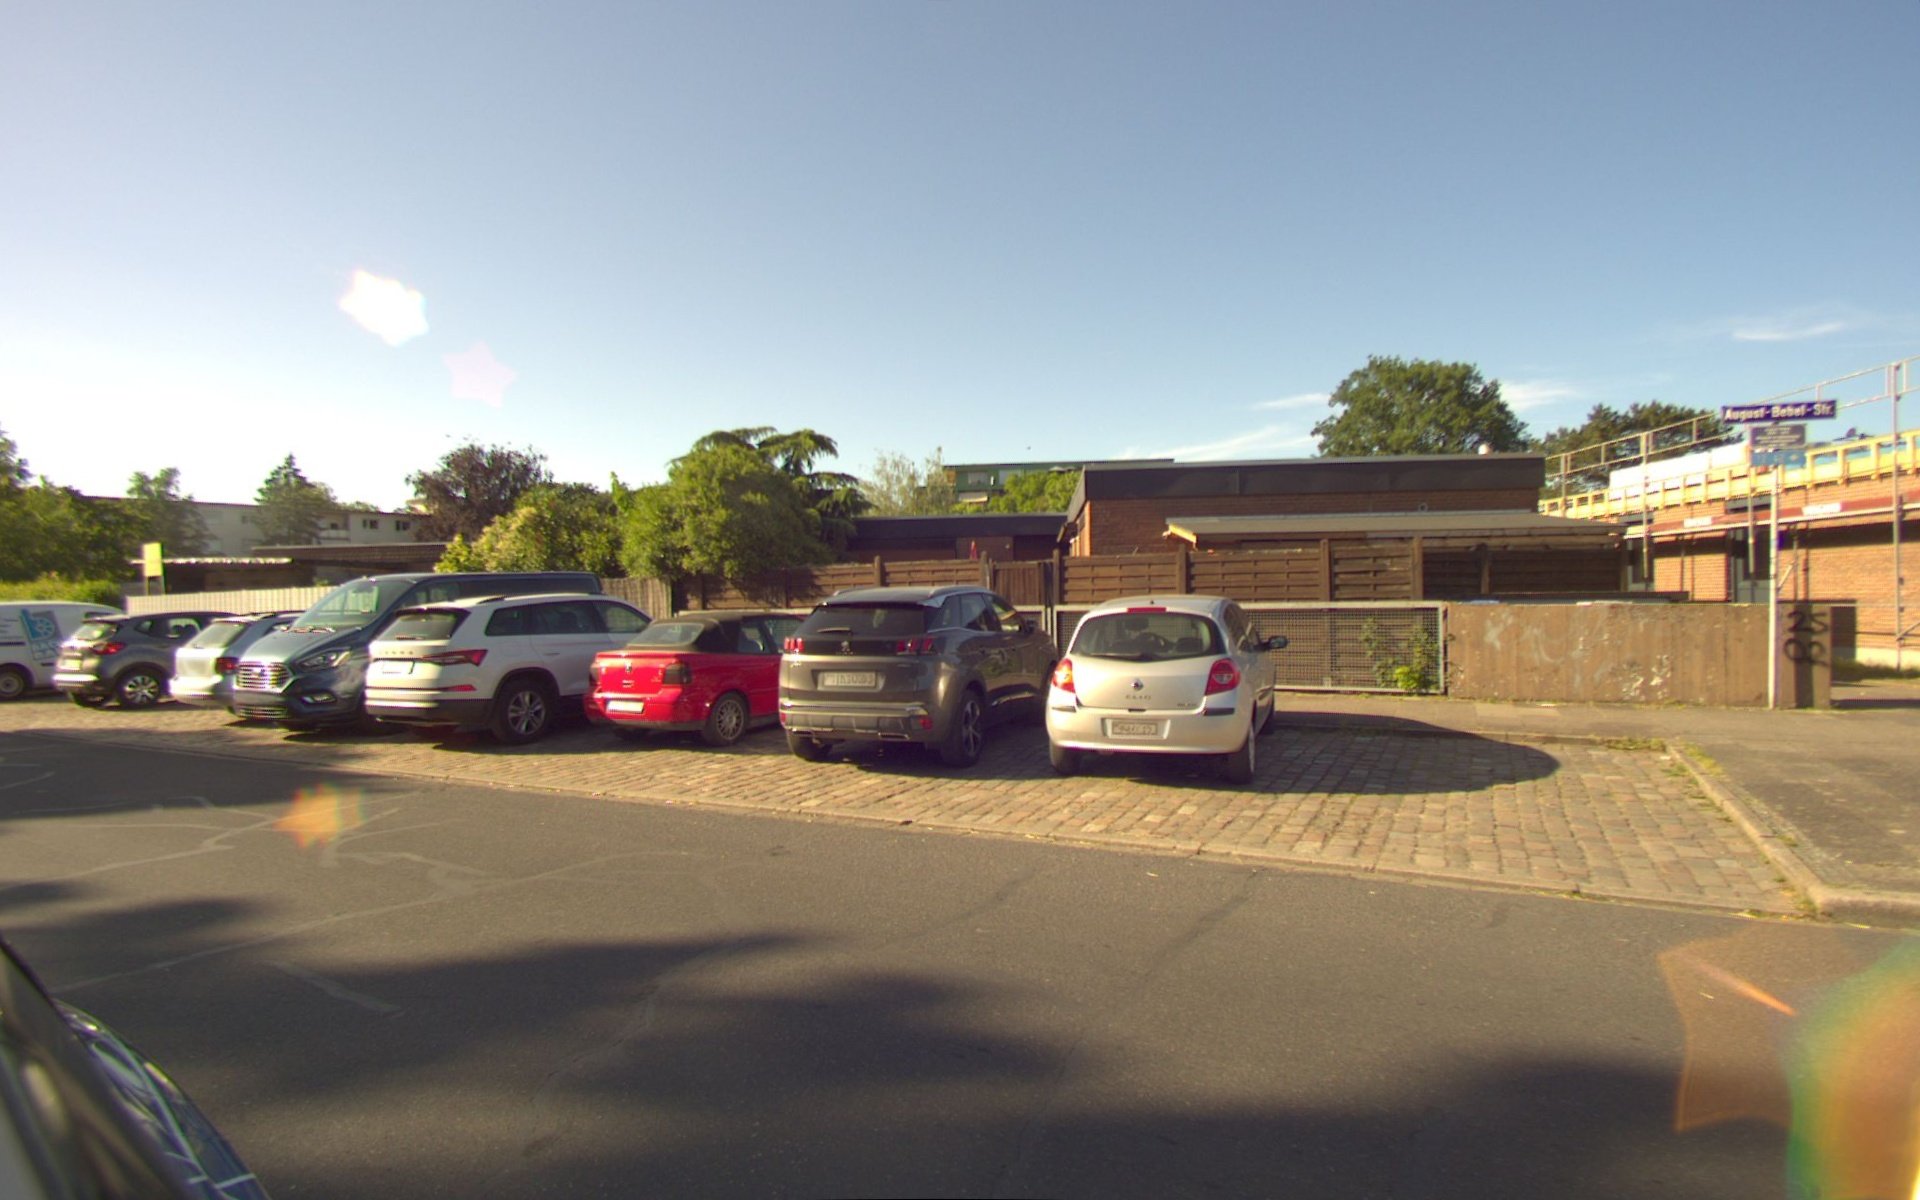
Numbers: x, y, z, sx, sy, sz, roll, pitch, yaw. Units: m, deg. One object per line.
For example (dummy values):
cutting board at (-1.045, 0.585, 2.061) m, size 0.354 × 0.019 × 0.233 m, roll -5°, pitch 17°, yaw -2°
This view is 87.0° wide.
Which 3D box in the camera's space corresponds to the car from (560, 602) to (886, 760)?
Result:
car at (-2.561, 0.792, 11.748) m, size 1.725 × 1.354 × 3.589 m, roll -1°, pitch 2°, yaw 29°

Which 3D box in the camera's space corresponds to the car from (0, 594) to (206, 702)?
car at (-17.429, 0.891, 19.689) m, size 1.917 × 1.793 × 3.952 m, roll -2°, pitch 2°, yaw 28°

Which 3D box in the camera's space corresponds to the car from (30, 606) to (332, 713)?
car at (-13.406, 0.940, 17.667) m, size 1.780 × 1.544 × 3.793 m, roll -1°, pitch 1°, yaw 26°

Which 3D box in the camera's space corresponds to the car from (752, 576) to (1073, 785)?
car at (-0.243, 0.625, 10.428) m, size 1.806 × 1.624 × 3.972 m, roll -1°, pitch 2°, yaw 22°

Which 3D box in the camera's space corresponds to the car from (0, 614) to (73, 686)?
car at (-21.868, 1.156, 22.061) m, size 1.632 × 1.500 × 3.485 m, roll -2°, pitch 2°, yaw 34°

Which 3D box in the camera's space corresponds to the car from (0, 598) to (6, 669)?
car at (-28.279, 1.046, 26.208) m, size 2.073 × 1.935 × 4.756 m, roll -1°, pitch 2°, yaw 30°

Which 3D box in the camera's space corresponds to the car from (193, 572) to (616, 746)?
car at (-7.225, 0.624, 13.837) m, size 1.989 × 1.930 × 4.847 m, roll -1°, pitch 1°, yaw 25°

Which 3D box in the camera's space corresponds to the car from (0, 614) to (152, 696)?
car at (-19.032, 1.102, 20.722) m, size 1.720 × 1.500 × 3.491 m, roll 0°, pitch 1°, yaw 29°

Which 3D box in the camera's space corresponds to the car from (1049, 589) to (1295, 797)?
car at (2.134, 0.670, 9.372) m, size 1.623 × 1.469 × 3.672 m, roll -1°, pitch 1°, yaw 22°

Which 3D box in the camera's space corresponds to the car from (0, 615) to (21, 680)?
car at (-23.988, 1.215, 23.032) m, size 1.630 × 1.500 × 3.490 m, roll -3°, pitch 1°, yaw 30°

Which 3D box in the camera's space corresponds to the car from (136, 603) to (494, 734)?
car at (-9.496, 0.892, 15.261) m, size 1.918 × 1.503 × 4.109 m, roll -1°, pitch 2°, yaw 30°

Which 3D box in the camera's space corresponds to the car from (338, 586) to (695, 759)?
car at (-5.103, 0.713, 12.125) m, size 1.725 × 1.619 × 3.589 m, roll -1°, pitch 2°, yaw 29°
